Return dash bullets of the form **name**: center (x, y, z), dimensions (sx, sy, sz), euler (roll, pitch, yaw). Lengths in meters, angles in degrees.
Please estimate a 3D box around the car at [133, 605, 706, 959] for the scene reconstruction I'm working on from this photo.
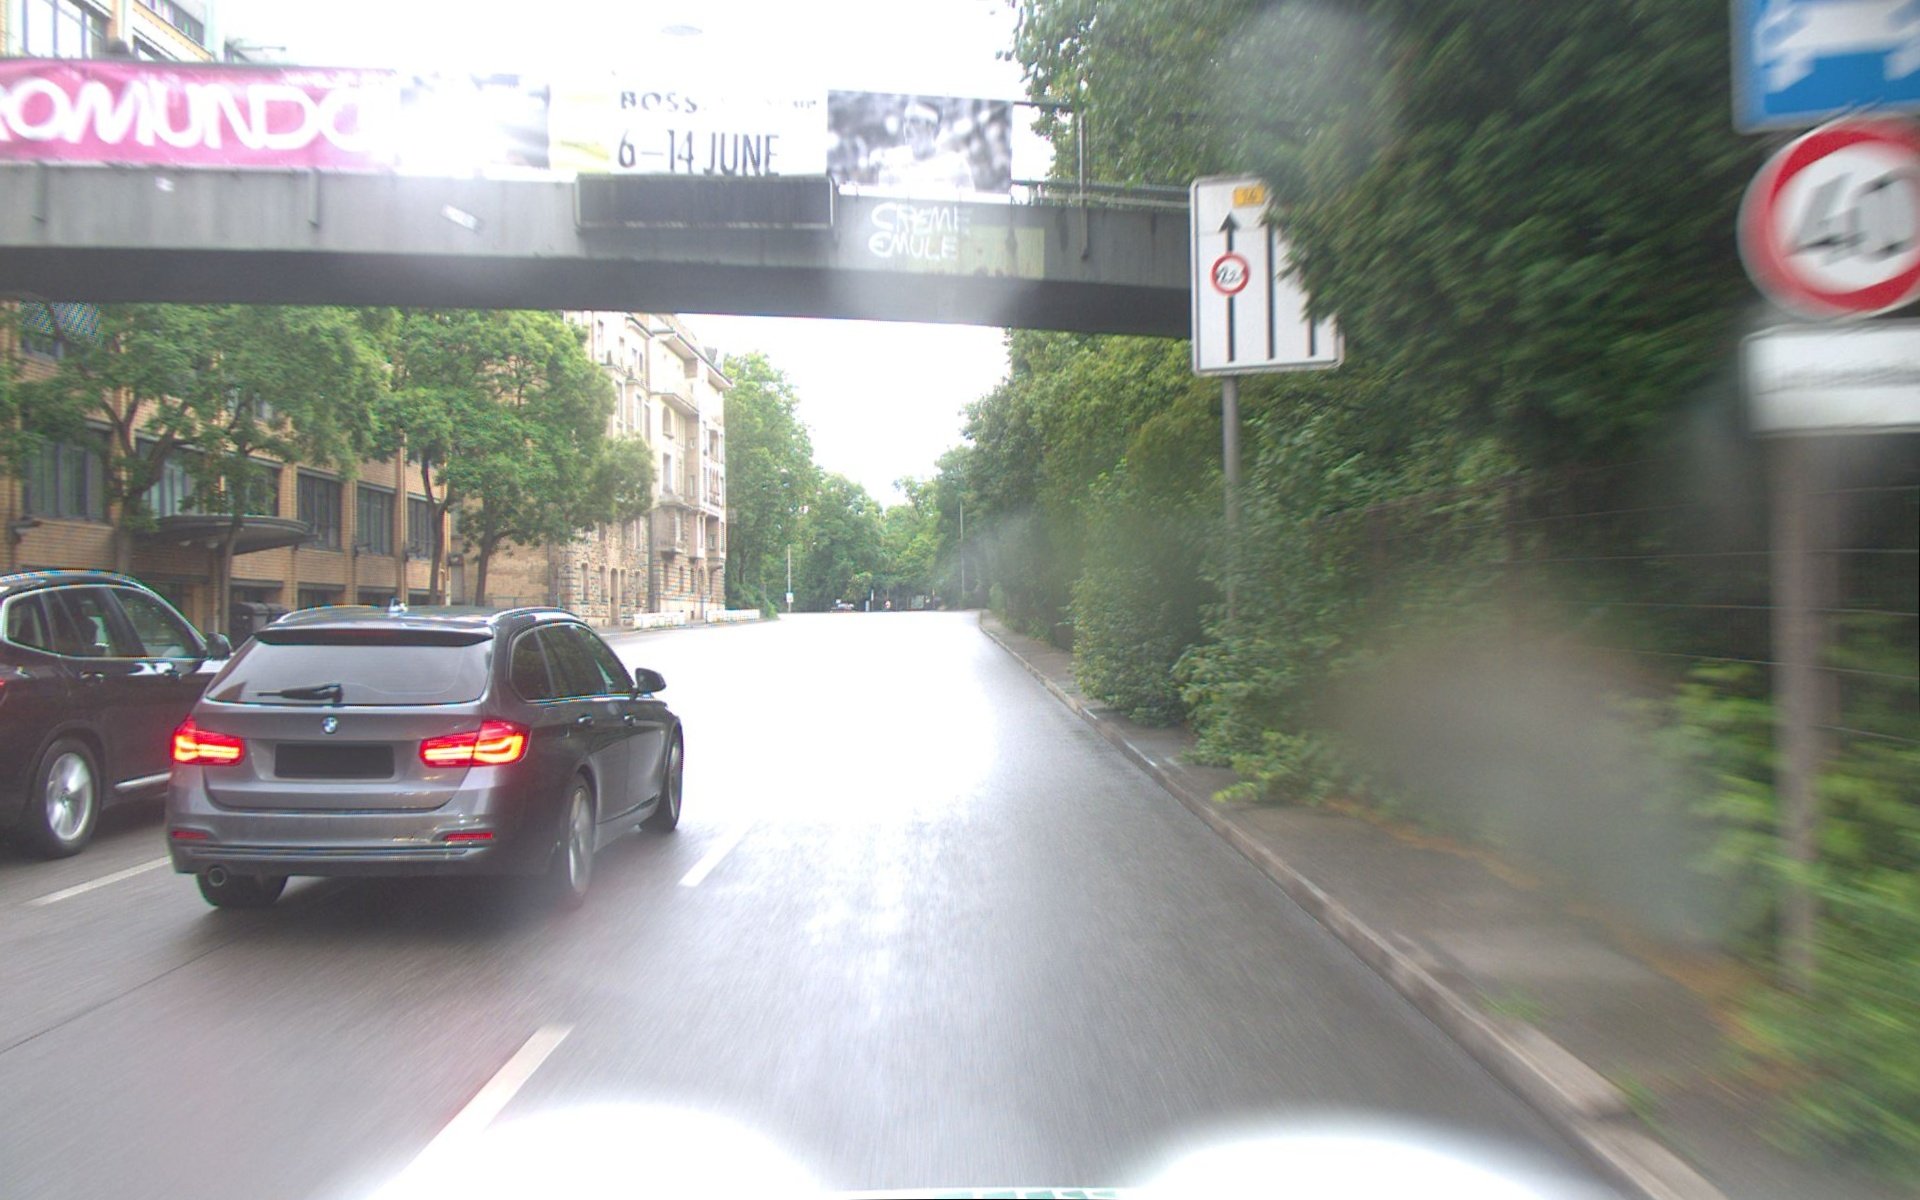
- **car**: center (-2.594, 0.774, 9.125), dimensions (1.722, 1.457, 4.412), euler (1, 0, -1)

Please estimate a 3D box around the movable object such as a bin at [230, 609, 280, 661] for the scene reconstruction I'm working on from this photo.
- **movable object such as a bin**: center (-20.440, 1.012, 47.979), dimensions (0.954, 1.461, 1.313), euler (1, 0, -5)

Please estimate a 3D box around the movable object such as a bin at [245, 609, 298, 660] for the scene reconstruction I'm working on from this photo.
- **movable object such as a bin**: center (-20.528, 1.021, 49.331), dimensions (1.047, 1.461, 1.371), euler (1, 0, -5)

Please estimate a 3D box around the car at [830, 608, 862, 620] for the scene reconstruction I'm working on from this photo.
- **car**: center (-14.868, 1.827, 215.344), dimensions (4.296, 1.452, 1.681), euler (-1, -4, 44)

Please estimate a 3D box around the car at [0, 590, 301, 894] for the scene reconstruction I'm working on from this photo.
- **car**: center (-5.975, 0.765, 10.661), dimensions (1.722, 1.614, 4.412), euler (0, 0, -1)
